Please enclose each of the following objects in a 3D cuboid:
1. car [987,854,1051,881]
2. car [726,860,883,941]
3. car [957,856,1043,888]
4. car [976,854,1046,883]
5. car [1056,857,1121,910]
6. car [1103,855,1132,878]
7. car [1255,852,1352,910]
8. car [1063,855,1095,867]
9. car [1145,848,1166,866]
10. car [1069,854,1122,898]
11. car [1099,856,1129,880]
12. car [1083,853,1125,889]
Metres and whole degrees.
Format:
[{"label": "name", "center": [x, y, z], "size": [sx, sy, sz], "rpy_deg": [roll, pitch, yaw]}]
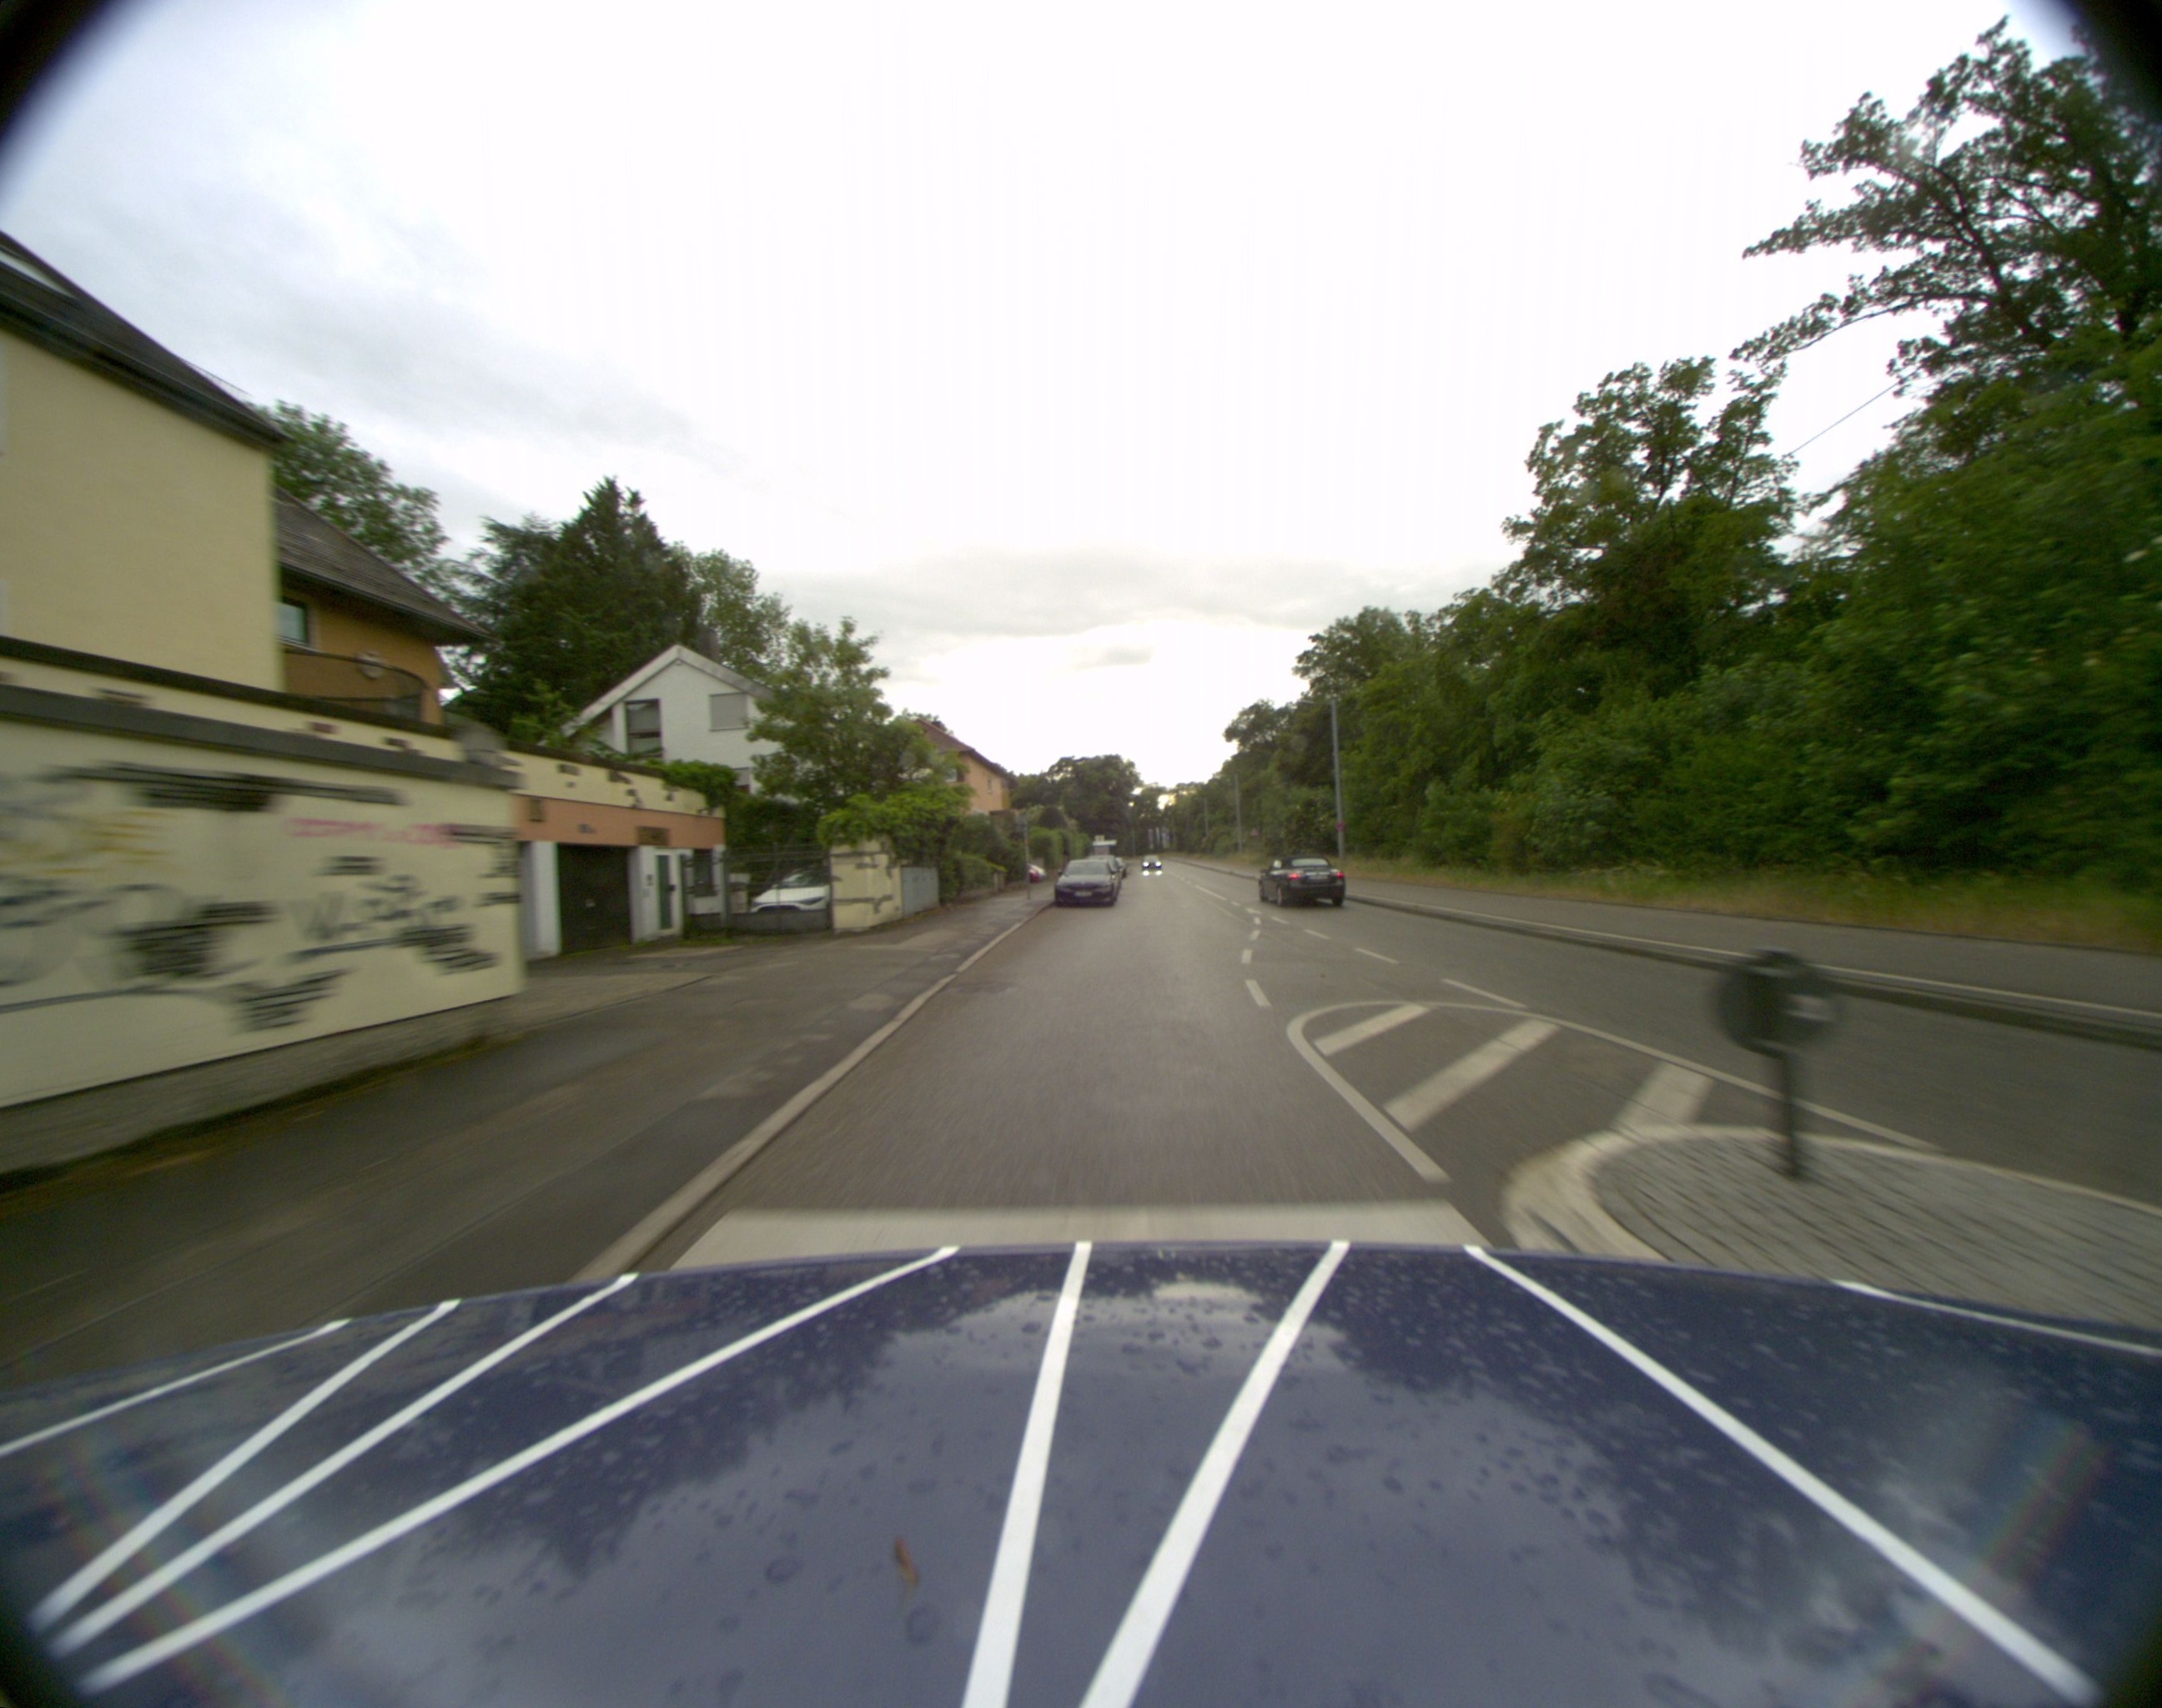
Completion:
[{"label": "car", "center": [-3.696, 0.790, 45.659], "size": [3.666, 1.527, 1.828], "rpy_deg": [1, 0, 2]}, {"label": "car", "center": [-6.672, 1.041, 18.944], "size": [1.936, 1.587, 4.342], "rpy_deg": [-3, 1, 5]}, {"label": "car", "center": [-4.274, 0.954, 40.624], "size": [4.254, 1.452, 1.882], "rpy_deg": [-2, 1, 4]}, {"label": "car", "center": [-3.882, 0.797, 42.666], "size": [3.666, 1.557, 1.883], "rpy_deg": [0, 1, 4]}, {"label": "car", "center": [0.339, 0.878, 24.825], "size": [1.755, 1.435, 4.601], "rpy_deg": [-2, 1, 5]}, {"label": "car", "center": [2.803, 0.901, 56.988], "size": [1.834, 1.538, 4.631], "rpy_deg": [-2, 1, 6]}, {"label": "car", "center": [6.401, 0.704, 22.348], "size": [1.747, 1.451, 4.414], "rpy_deg": [-2, 1, 3]}, {"label": "car", "center": [-0.256, 0.920, 104.259], "size": [4.227, 1.498, 1.895], "rpy_deg": [-2, 0, 4]}, {"label": "car", "center": [7.194, 0.268, 73.111], "size": [1.997, 1.714, 4.002], "rpy_deg": [-1, 0, 6]}, {"label": "car", "center": [0.651, 0.798, 30.164], "size": [1.797, 1.478, 4.496], "rpy_deg": [-2, 1, 4]}, {"label": "car", "center": [2.310, 0.941, 52.355], "size": [1.817, 1.390, 4.103], "rpy_deg": [-2, 1, 6]}, {"label": "car", "center": [1.142, 0.762, 36.179], "size": [1.734, 1.558, 4.523], "rpy_deg": [-1, 0, 5]}]
